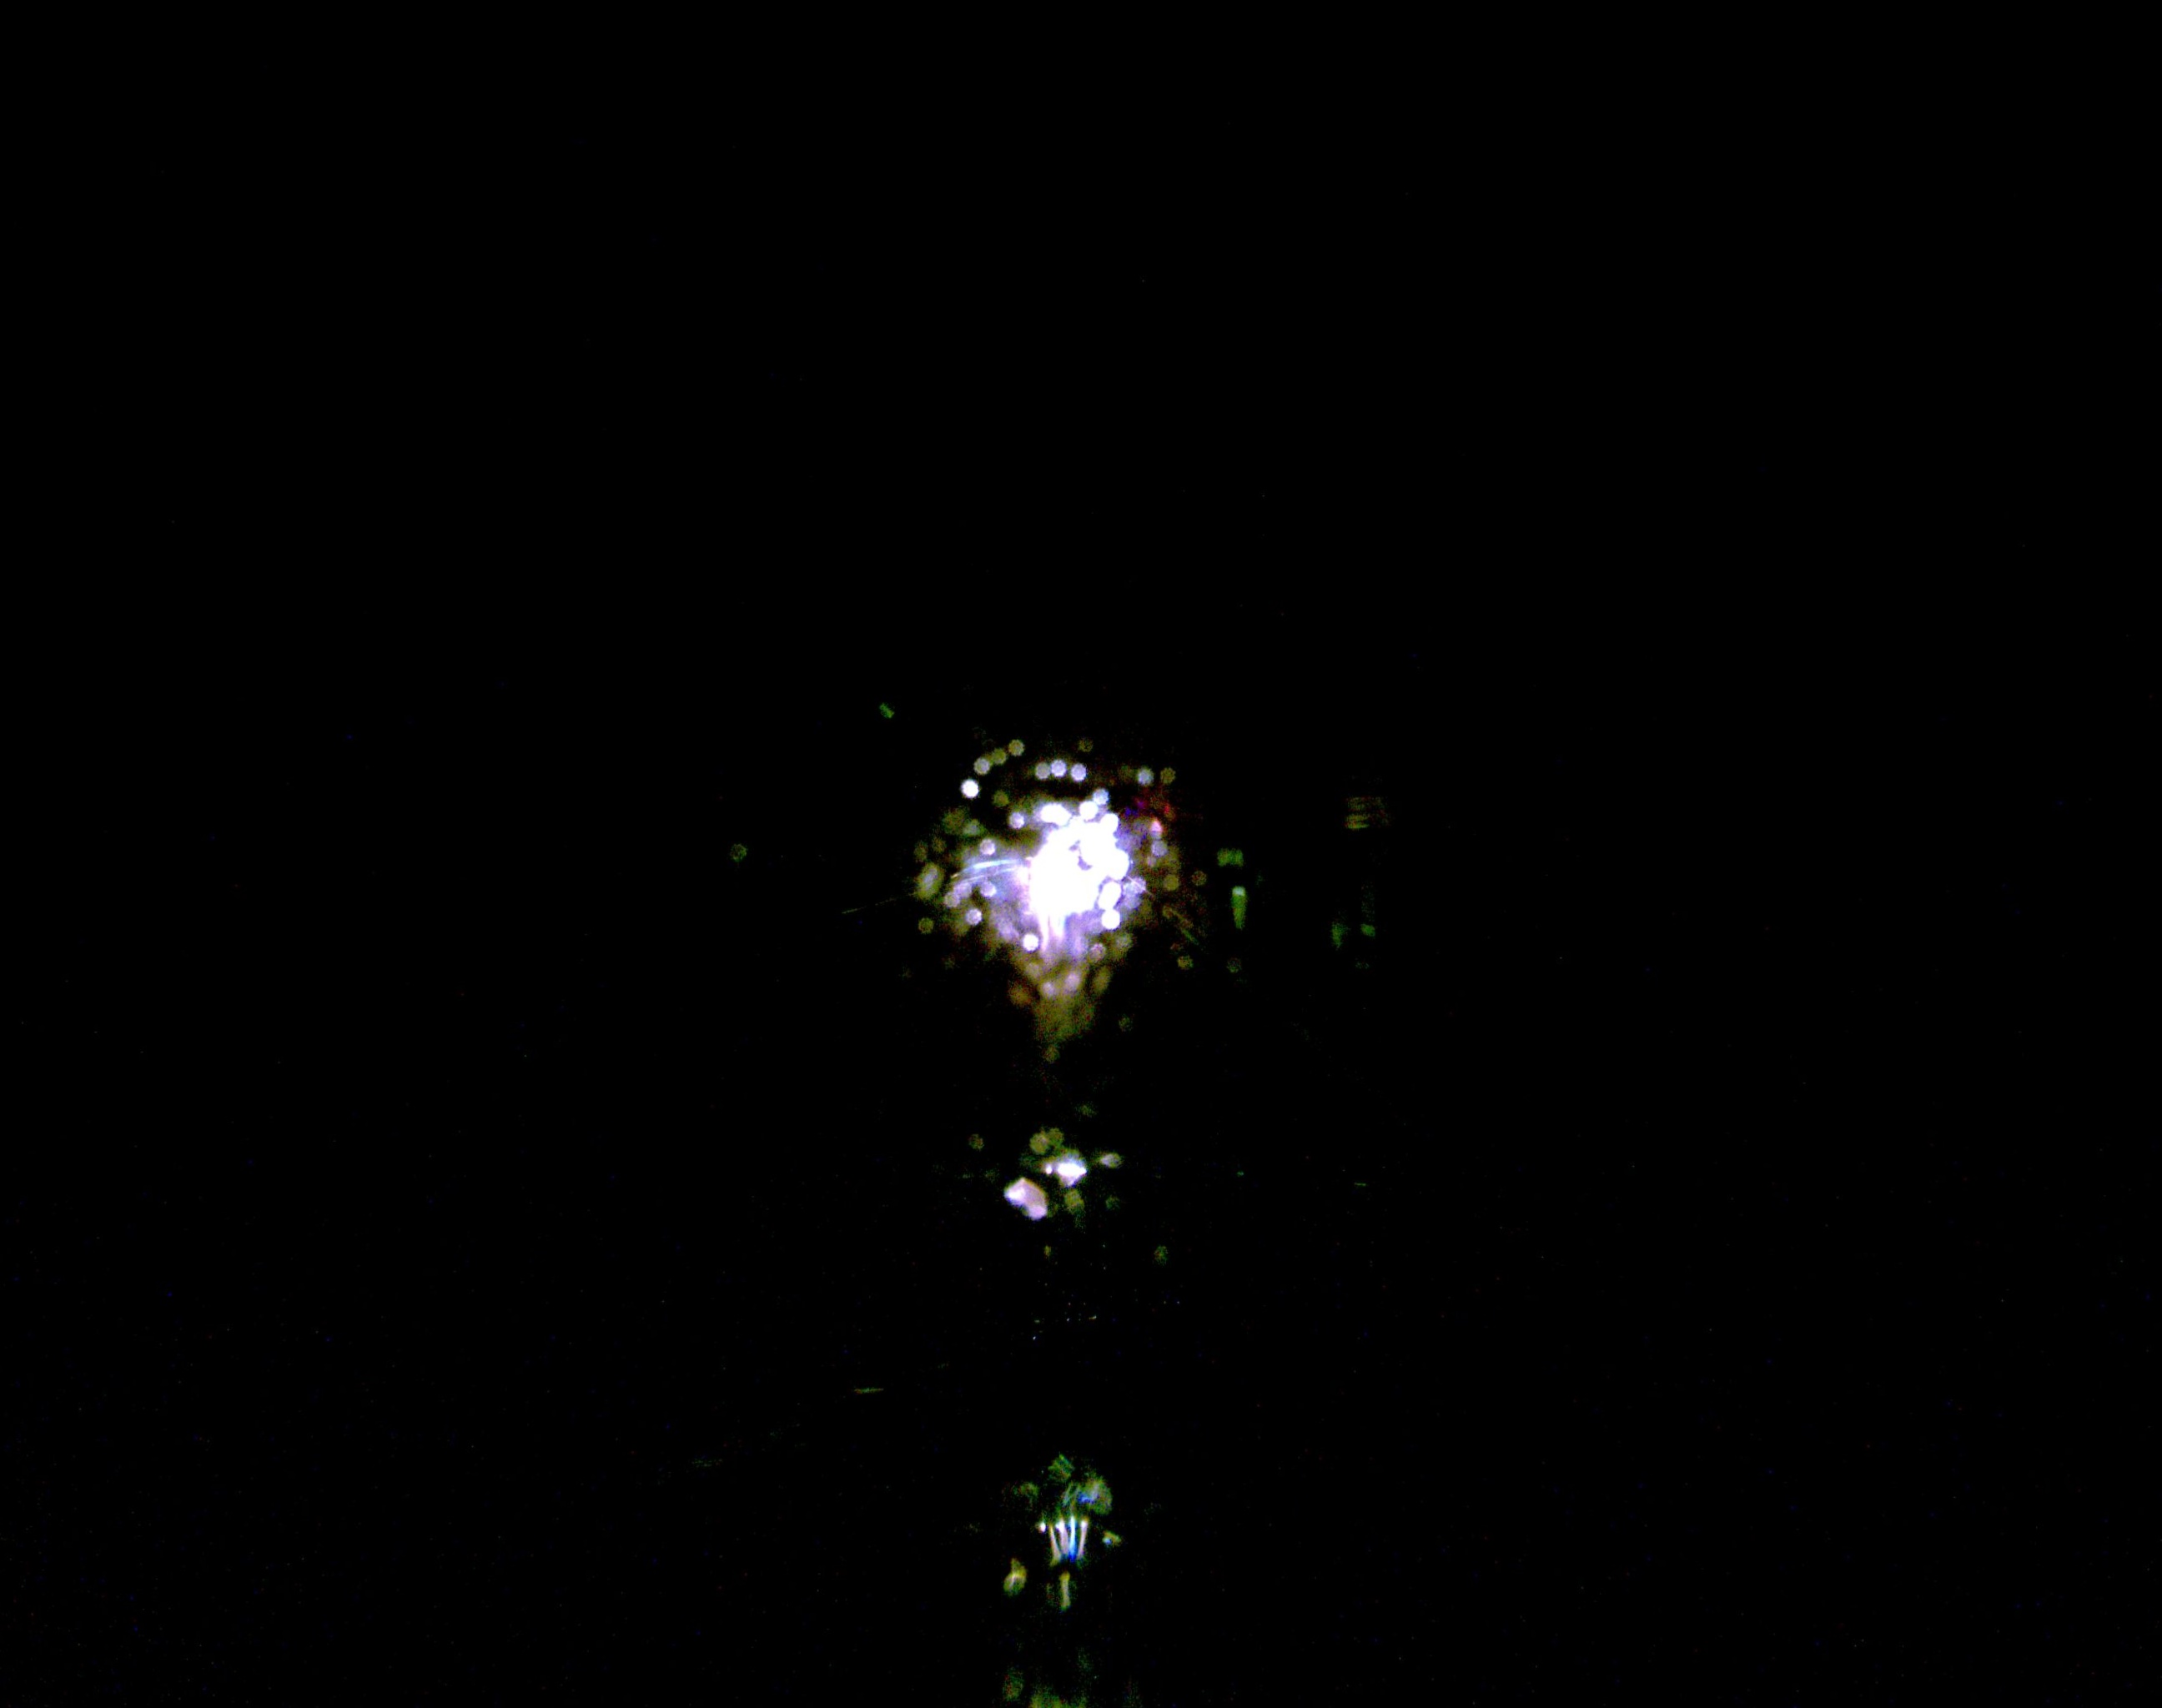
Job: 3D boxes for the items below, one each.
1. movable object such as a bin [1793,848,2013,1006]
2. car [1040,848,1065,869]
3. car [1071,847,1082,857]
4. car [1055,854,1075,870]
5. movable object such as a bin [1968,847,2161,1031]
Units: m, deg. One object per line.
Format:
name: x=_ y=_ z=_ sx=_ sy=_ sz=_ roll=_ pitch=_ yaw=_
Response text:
movable object such as a bin: x=7.917 y=0.639 z=7.867 sx=1.182 sy=1.309 sz=1.308 roll=-3 pitch=0 yaw=-36
car: x=-2.461 y=0.357 z=71.560 sx=1.882 sy=1.671 sz=4.001 roll=-3 pitch=1 yaw=1
car: x=-0.682 y=-0.345 z=132.993 sx=1.695 sy=1.467 sz=4.040 roll=-3 pitch=1 yaw=-1
car: x=-1.731 y=0.856 z=87.688 sx=1.882 sy=1.586 sz=4.001 roll=-3 pitch=1 yaw=1
movable object such as a bin: x=8.223 y=0.627 z=6.599 sx=1.158 sy=1.325 sz=1.219 roll=-2 pitch=0 yaw=-34
